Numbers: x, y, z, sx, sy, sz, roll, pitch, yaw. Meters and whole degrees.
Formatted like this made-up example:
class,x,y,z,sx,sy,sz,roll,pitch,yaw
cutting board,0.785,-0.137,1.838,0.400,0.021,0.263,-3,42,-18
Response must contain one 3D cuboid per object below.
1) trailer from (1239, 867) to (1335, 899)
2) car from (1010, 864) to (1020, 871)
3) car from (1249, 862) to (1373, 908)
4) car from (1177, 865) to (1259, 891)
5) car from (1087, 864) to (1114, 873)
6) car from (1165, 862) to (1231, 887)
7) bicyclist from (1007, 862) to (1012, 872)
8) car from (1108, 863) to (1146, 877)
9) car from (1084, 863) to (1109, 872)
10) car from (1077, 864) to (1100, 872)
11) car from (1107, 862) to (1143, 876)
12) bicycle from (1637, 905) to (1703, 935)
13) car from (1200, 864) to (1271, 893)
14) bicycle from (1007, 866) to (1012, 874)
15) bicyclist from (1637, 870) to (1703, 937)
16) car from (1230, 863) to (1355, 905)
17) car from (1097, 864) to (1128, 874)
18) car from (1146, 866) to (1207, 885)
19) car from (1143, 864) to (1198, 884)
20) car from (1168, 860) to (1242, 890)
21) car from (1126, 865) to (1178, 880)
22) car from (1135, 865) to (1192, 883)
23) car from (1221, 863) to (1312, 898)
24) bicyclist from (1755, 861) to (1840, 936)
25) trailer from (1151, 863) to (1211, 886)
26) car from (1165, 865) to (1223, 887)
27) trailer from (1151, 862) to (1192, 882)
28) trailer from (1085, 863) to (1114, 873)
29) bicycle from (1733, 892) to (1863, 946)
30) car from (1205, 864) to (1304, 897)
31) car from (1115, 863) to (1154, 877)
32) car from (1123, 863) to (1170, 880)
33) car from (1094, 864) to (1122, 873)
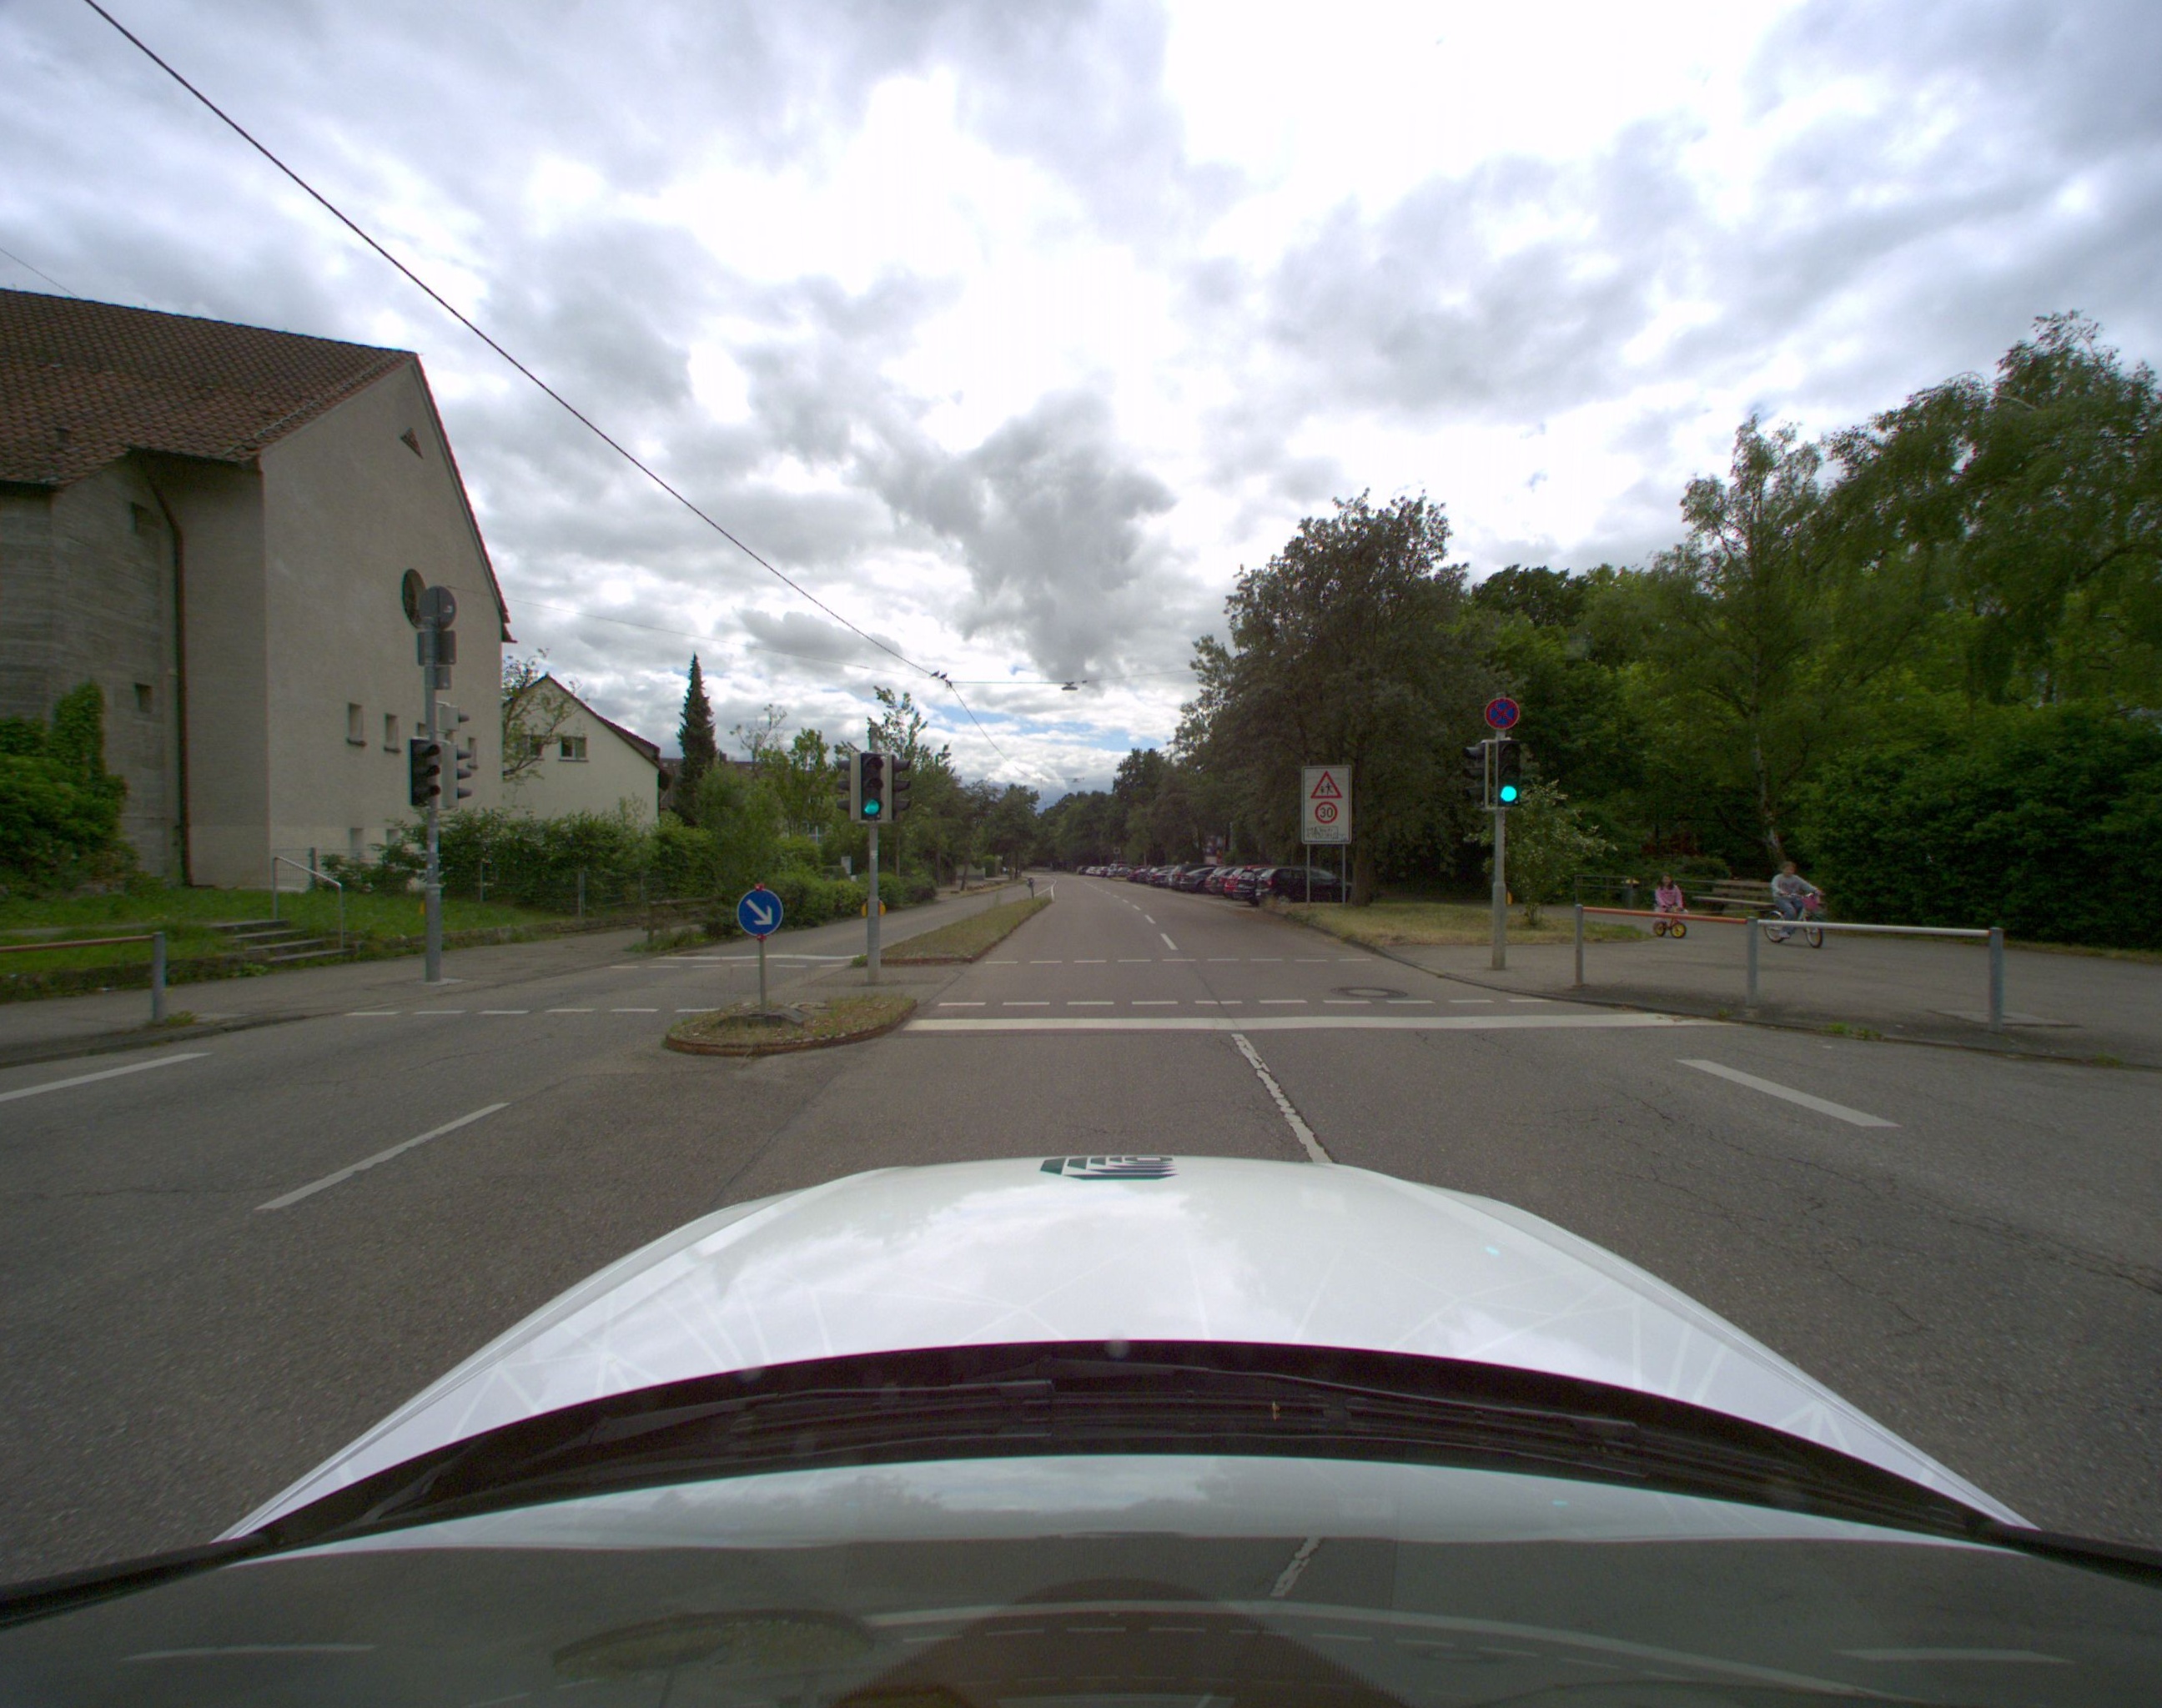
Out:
class,x,y,z,sx,sy,sz,roll,pitch,yaw
trailer,8.279,1.159,32.880,3.404,1.267,1.610,0,-1,-12
car,-15.263,3.123,188.081,1.866,1.471,3.987,-1,-1,-9
car,7.700,1.019,27.404,3.709,1.476,1.574,0,0,-5
car,7.474,1.302,44.534,4.164,1.407,1.690,0,-1,-13
car,3.087,2.318,128.602,3.905,1.309,1.728,1,-1,-27
car,7.166,1.256,50.065,3.816,1.529,1.602,0,-1,-6
bicyclist,-12.282,2.270,139.734,0.843,1.697,0.712,0,0,-5
car,5.417,1.893,96.217,4.008,1.620,1.873,1,-1,-18
car,2.602,2.286,136.944,3.900,1.429,1.731,1,-1,-22
car,1.375,2.472,146.885,3.900,1.429,1.731,1,-1,-22
car,5.340,1.821,99.161,4.110,1.754,1.770,1,-1,-29
bicycle,10.753,1.202,14.892,0.516,0.497,0.989,0,-2,2
car,8.062,1.287,42.580,3.328,1.464,1.628,0,-1,-12
bicycle,-12.282,2.779,139.773,0.843,1.266,2.648,0,0,-4
bicyclist,10.762,0.895,14.909,0.516,1.187,0.968,0,-2,2
car,7.673,1.082,29.631,4.139,1.476,1.569,1,-1,-13
car,4.369,2.047,112.608,3.904,1.449,1.828,1,-1,-26
car,6.727,1.538,57.425,4.038,1.327,1.553,0,-2,-11
car,6.885,1.544,62.785,3.845,1.455,1.626,1,-1,-14
car,7.179,1.205,47.279,3.988,1.725,1.674,0,-1,-12
car,6.368,1.660,72.873,4.321,1.341,1.724,1,-1,-16
car,6.819,1.631,67.376,4.353,1.445,1.625,1,0,-17
car,7.974,1.125,35.124,3.529,1.476,1.584,0,-1,-14
bicyclist,11.469,0.695,13.065,0.637,1.162,0.804,0,-1,2
trailer,6.697,1.377,54.777,3.693,1.535,1.638,1,-1,-14
car,7.281,1.412,52.528,3.429,1.445,1.552,0,-1,-14
trailer,7.233,1.461,65.319,2.991,1.542,1.296,0,0,-15
trailer,2.920,2.172,125.908,4.170,1.573,1.700,1,-1,-22
bicycle,11.453,1.016,13.084,0.637,0.758,1.681,0,-1,2
car,7.999,1.202,37.659,4.221,1.464,1.629,0,-1,-11
car,6.008,1.782,90.816,3.974,1.405,1.746,1,-1,-17
car,6.102,1.643,75.707,4.090,1.515,1.720,0,-1,-24
car,4.092,2.216,123.786,3.902,1.449,1.730,1,-1,-24
